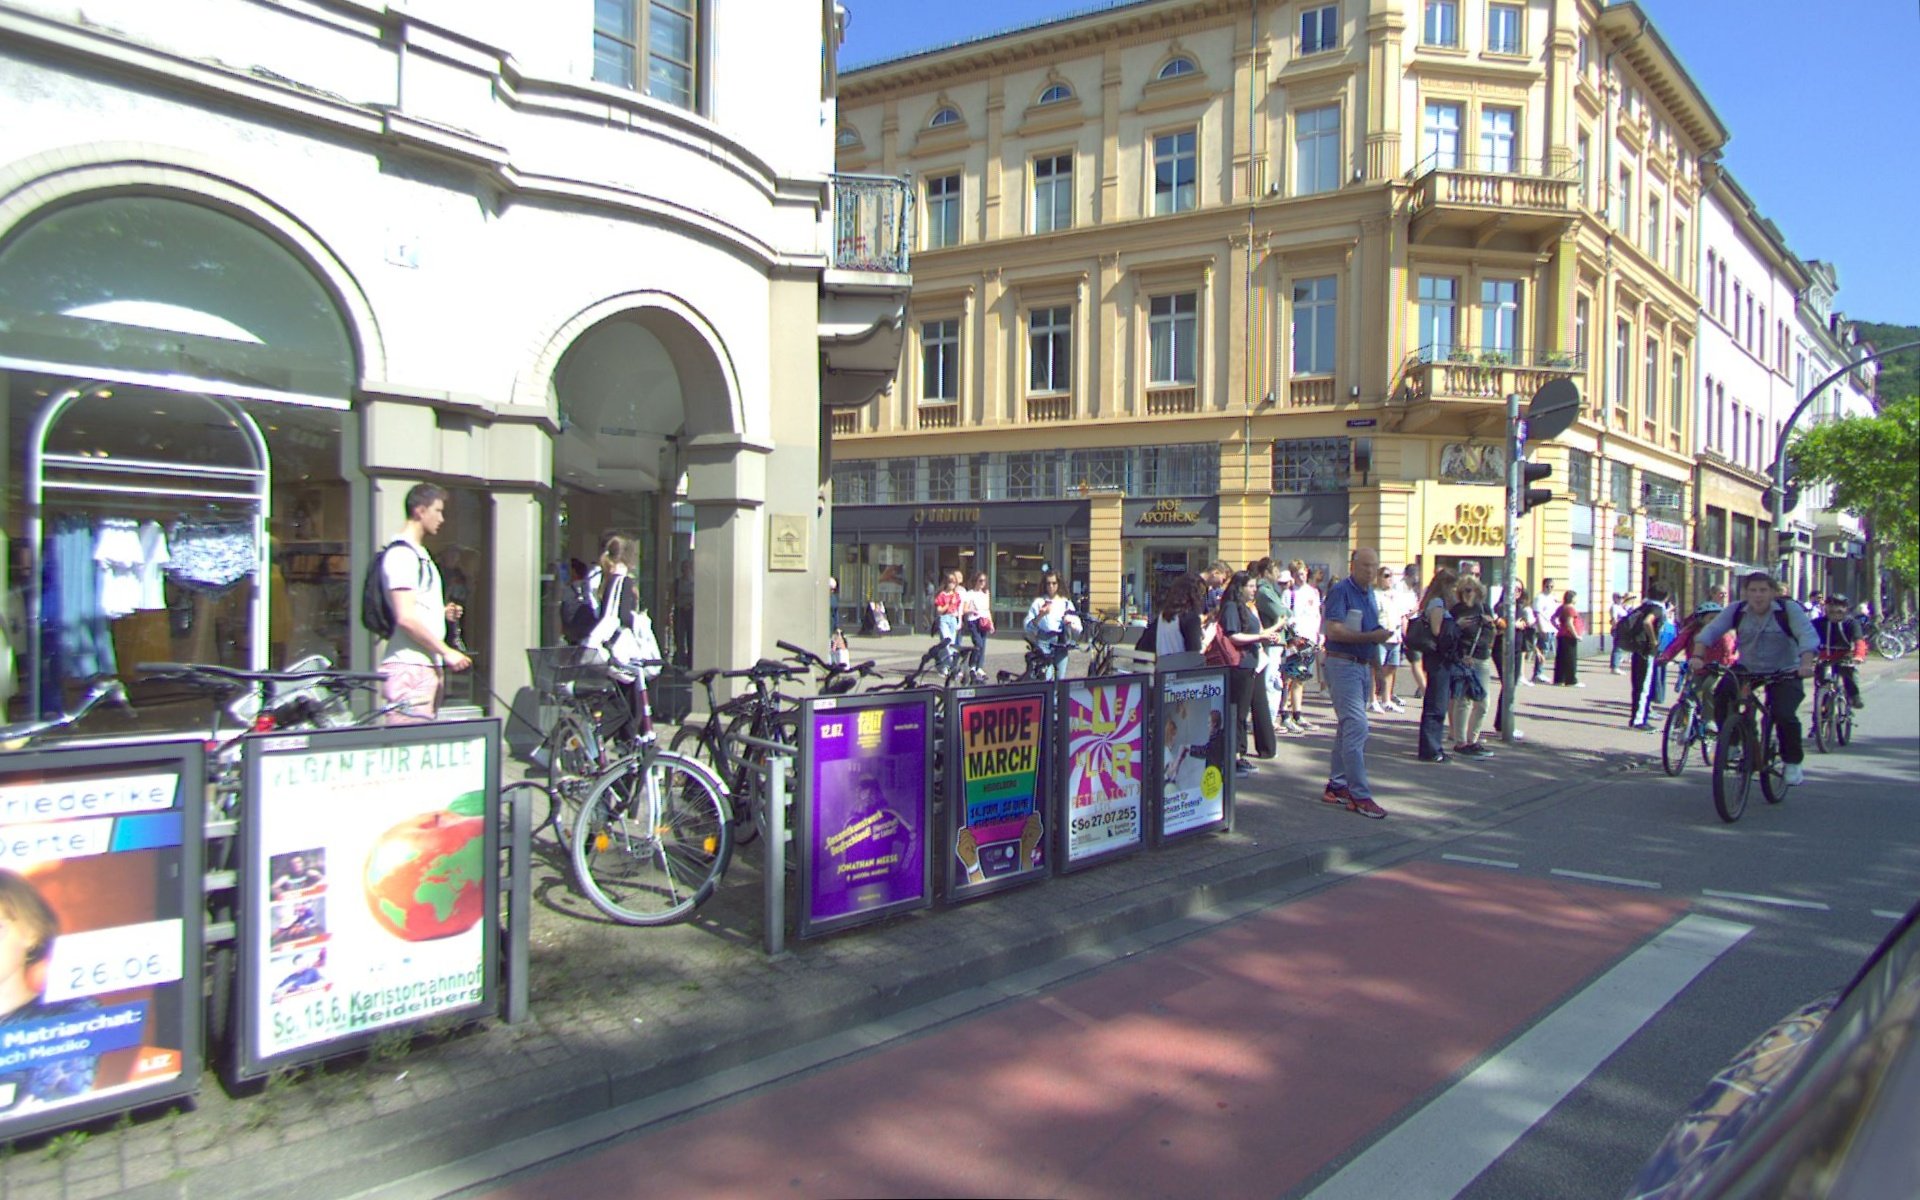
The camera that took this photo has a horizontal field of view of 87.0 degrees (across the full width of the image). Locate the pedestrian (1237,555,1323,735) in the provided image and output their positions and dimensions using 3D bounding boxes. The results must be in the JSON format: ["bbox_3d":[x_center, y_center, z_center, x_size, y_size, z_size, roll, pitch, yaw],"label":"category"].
[{"bbox_3d":[3.236,0.441,10.242,0.612,1.746,0.577,0,-1,-45],"label":"pedestrian"}]

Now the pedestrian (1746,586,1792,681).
[{"bbox_3d":[15.008,0.607,18.788,0.575,1.705,0.668,2,1,37],"label":"pedestrian"}]

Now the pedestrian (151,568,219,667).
[{"bbox_3d":[-11.747,0.269,15.350,0.572,1.462,0.617,-1,-1,23],"label":"pedestrian"}]

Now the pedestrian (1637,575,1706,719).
[{"bbox_3d":[8.968,0.570,12.773,0.599,1.757,0.643,0,1,26],"label":"pedestrian"}]

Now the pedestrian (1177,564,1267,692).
[{"bbox_3d":[3.822,0.390,14.744,1.163,1.780,0.622,0,-1,-34],"label":"pedestrian"}]

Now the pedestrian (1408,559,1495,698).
[{"bbox_3d":[6.805,0.385,14.030,0.838,1.869,0.623,-1,-1,-3],"label":"pedestrian"}]

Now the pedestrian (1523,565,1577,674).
[{"bbox_3d":[10.239,0.327,17.558,0.594,1.837,0.578,0,3,-41],"label":"pedestrian"}]

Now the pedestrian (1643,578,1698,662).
[{"bbox_3d":[15.723,0.417,22.402,0.844,1.815,0.758,0,0,-36],"label":"pedestrian"}]

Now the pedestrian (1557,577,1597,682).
[{"bbox_3d":[10.319,0.481,16.917,0.470,1.710,0.443,0,0,-41],"label":"pedestrian"}]

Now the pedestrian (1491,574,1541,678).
[{"bbox_3d":[9.526,0.430,17.332,0.611,1.747,0.577,0,0,-41],"label":"pedestrian"}]

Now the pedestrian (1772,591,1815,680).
[{"bbox_3d":[15.584,0.647,18.936,0.528,1.615,0.581,3,2,37],"label":"pedestrian"}]

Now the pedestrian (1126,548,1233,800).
[{"bbox_3d":[1.549,0.506,7.227,0.567,1.706,0.622,-1,-1,-2],"label":"pedestrian"}]

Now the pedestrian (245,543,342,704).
[{"bbox_3d":[-7.253,0.246,11.045,0.673,1.689,0.623,-1,-1,-7],"label":"pedestrian"}]

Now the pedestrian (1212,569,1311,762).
[{"bbox_3d":[2.632,0.544,8.831,0.612,1.604,0.577,0,-1,-45],"label":"pedestrian"}]

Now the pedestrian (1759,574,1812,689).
[{"bbox_3d":[14.088,0.520,17.289,0.575,1.897,0.671,4,2,36],"label":"pedestrian"}]

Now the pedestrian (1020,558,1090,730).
[{"bbox_3d":[0.909,0.415,9.743,0.571,1.604,0.518,-1,-1,-2],"label":"pedestrian"}]

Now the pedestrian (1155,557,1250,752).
[{"bbox_3d":[2.215,0.478,9.252,0.612,1.706,0.577,0,-1,-45],"label":"pedestrian"}]

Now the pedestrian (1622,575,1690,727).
[{"bbox_3d":[8.078,0.573,11.770,0.574,1.706,0.719,-2,-1,32],"label":"pedestrian"}]

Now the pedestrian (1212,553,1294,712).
[{"bbox_3d":[3.505,0.372,12.094,0.687,1.827,0.649,0,-1,-43],"label":"pedestrian"}]

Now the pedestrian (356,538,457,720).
[{"bbox_3d":[-5.335,0.265,9.785,0.673,1.689,0.623,-1,-1,-7],"label":"pedestrian"}]

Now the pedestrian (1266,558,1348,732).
[{"bbox_3d":[3.660,0.460,10.670,0.612,1.762,0.577,0,-1,-45],"label":"pedestrian"}]

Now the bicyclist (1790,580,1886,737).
[{"bbox_3d":[9.368,0.594,10.796,0.765,1.597,0.688,0,-1,-45],"label":"bicyclist"}]

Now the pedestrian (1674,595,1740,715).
[{"bbox_3d":[9.803,0.694,13.302,0.668,1.515,0.630,0,1,34],"label":"pedestrian"}]

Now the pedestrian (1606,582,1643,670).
[{"bbox_3d":[13.070,0.494,19.905,0.575,1.680,0.614,1,0,37],"label":"pedestrian"}]

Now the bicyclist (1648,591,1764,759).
[{"bbox_3d":[6.693,0.636,9.080,0.765,1.414,0.689,0,-1,-43],"label":"bicyclist"}]

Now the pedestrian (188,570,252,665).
[{"bbox_3d":[-11.762,0.275,16.091,0.572,1.462,0.617,-1,-1,23],"label":"pedestrian"}]

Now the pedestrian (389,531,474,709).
[{"bbox_3d":[-5.482,0.201,10.522,0.594,1.787,0.623,-1,-1,-7],"label":"pedestrian"}]

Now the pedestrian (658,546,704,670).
[{"bbox_3d":[-4.327,0.119,15.672,0.609,1.869,0.792,-1,-1,-20],"label":"pedestrian"}]

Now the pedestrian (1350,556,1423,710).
[{"bbox_3d":[5.232,0.393,12.408,0.686,1.825,0.577,0,-1,-45],"label":"pedestrian"}]

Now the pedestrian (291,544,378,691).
[{"bbox_3d":[-7.406,0.203,12.004,0.673,1.689,0.623,-1,-1,-7],"label":"pedestrian"}]

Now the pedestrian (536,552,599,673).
[{"bbox_3d":[-5.654,0.171,14.580,0.619,1.689,0.570,1,0,39],"label":"pedestrian"}]

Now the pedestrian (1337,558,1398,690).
[{"bbox_3d":[5.908,0.341,14.678,0.611,1.869,0.577,0,-1,-41],"label":"pedestrian"}]

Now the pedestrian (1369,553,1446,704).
[{"bbox_3d":[5.760,0.359,13.030,0.612,1.882,0.685,0,-1,-45],"label":"pedestrian"}]

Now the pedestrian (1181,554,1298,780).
[{"bbox_3d":[2.247,0.506,8.125,0.763,1.706,0.577,0,-1,-45],"label":"pedestrian"}]

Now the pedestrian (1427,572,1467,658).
[{"bbox_3d":[10.518,0.310,21.846,0.741,1.828,0.728,1,0,28],"label":"pedestrian"}]

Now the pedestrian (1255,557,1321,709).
[{"bbox_3d":[4.086,0.406,12.637,0.611,1.840,0.632,-1,-1,5],"label":"pedestrian"}]

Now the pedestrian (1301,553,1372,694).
[{"bbox_3d":[5.154,0.314,13.862,0.611,1.869,0.664,0,-1,-41],"label":"pedestrian"}]

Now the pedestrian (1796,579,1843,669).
[{"bbox_3d":[17.856,0.479,21.037,0.647,1.801,0.614,2,3,38],"label":"pedestrian"}]

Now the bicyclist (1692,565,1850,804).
[{"bbox_3d":[5.844,0.567,7.297,0.765,1.597,0.749,0,-1,-43],"label":"bicyclist"}]

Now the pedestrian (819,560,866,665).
[{"bbox_3d":[-2.139,0.224,18.426,0.611,1.869,0.577,0,-1,-41],"label":"pedestrian"}]

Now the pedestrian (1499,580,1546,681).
[{"bbox_3d":[9.279,0.482,16.684,0.525,1.624,0.513,0,1,-41],"label":"pedestrian"}]
